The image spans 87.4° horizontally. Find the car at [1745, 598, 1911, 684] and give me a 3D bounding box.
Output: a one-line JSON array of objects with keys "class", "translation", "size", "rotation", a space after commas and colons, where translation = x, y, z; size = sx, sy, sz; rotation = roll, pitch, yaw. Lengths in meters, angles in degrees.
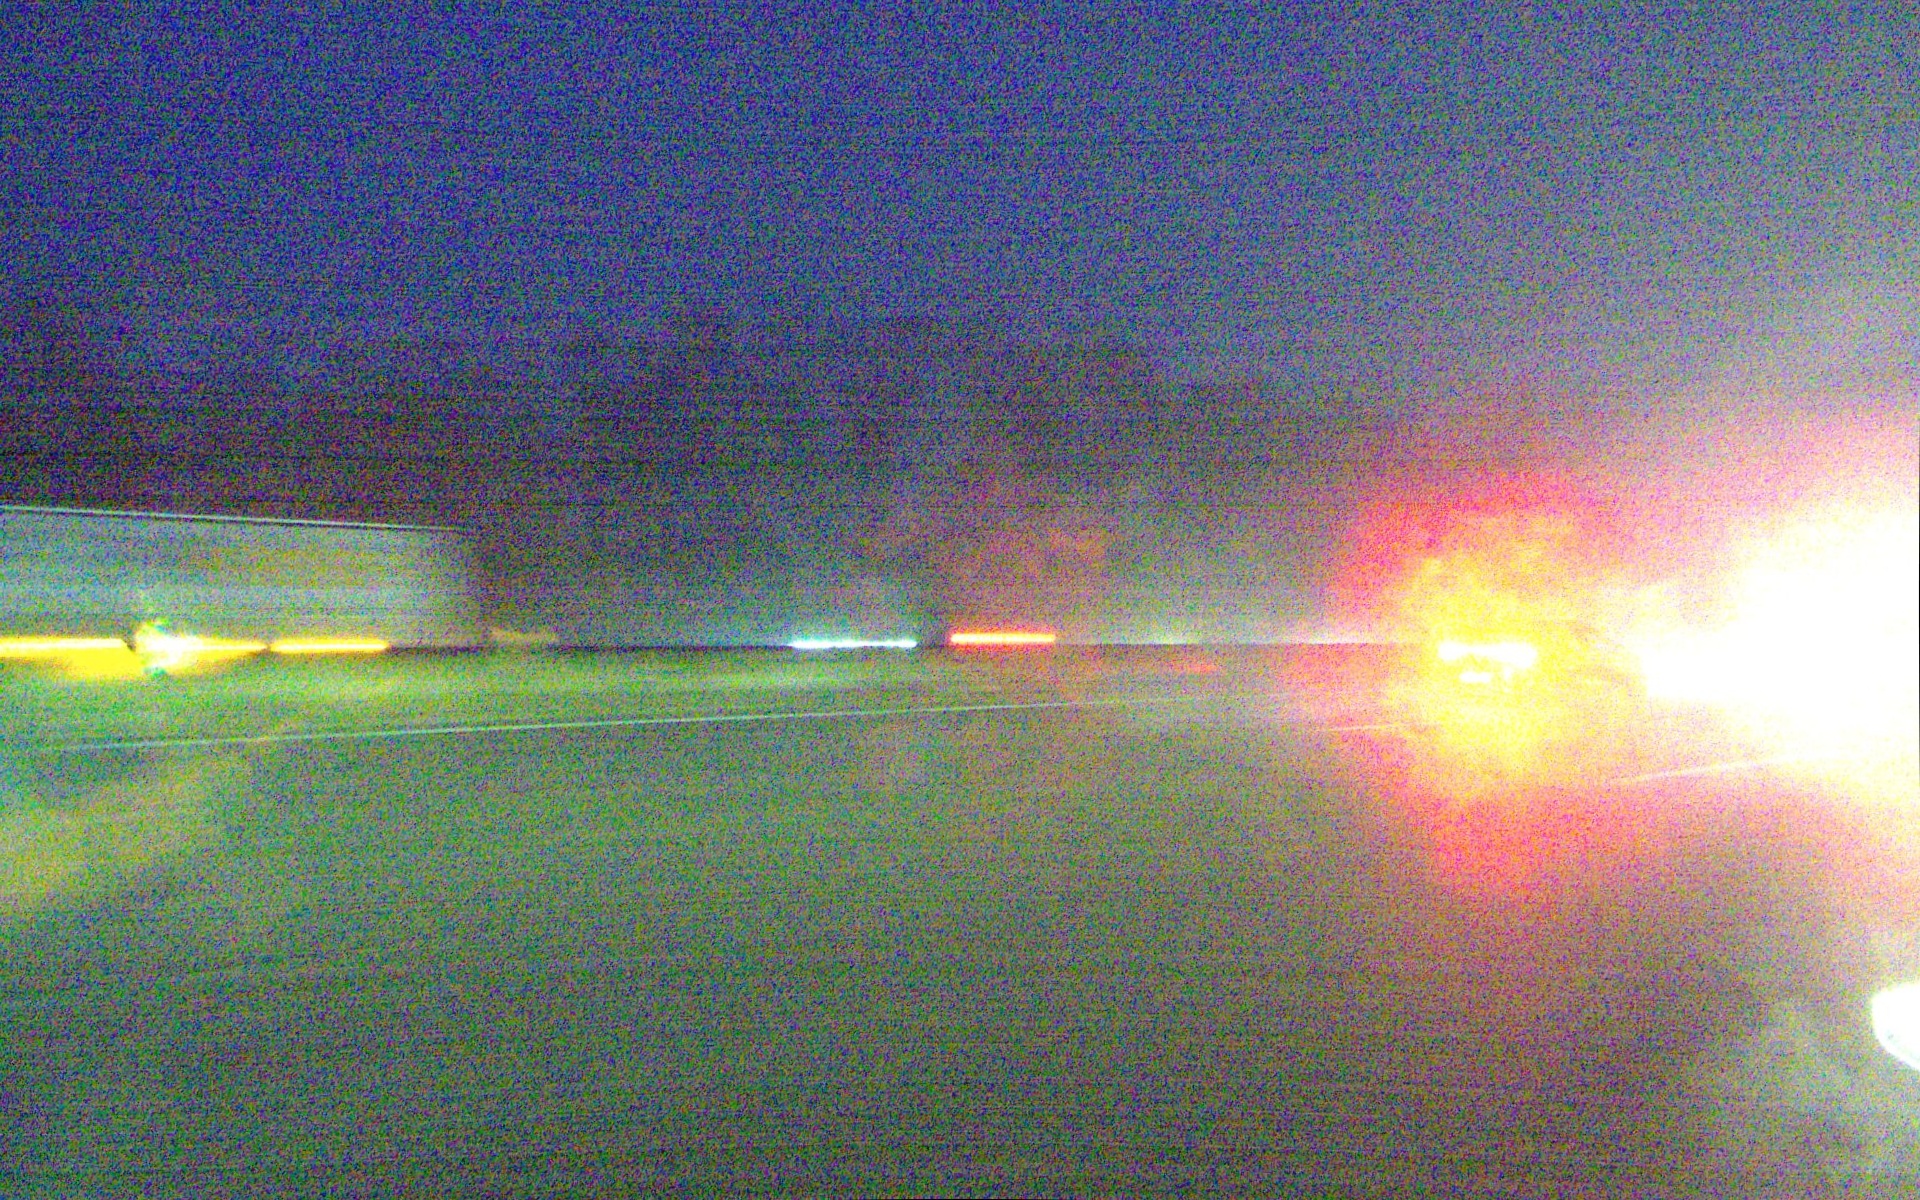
[{"class": "car", "translation": [23.844, 1.065, 27.521], "size": [5.572, 2.132, 2.109], "rotation": [1, 0, -35]}]

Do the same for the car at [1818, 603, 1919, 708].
[{"class": "car", "translation": [18.102, 1.008, 18.816], "size": [4.471, 1.785, 2.025], "rotation": [2, 0, -35]}]

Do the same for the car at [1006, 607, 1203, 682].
[{"class": "car", "translation": [3.545, 1.059, 24.396], "size": [4.567, 1.639, 1.886], "rotation": [2, 0, -31]}]

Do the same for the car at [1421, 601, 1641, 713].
[{"class": "car", "translation": [9.956, 0.900, 17.445], "size": [3.959, 1.712, 1.754], "rotation": [0, 0, -34]}]

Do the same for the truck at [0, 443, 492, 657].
[{"class": "truck", "translation": [-20.797, -1.085, 23.723], "size": [17.397, 4.619, 3.392], "rotation": [2, 0, -31]}]
